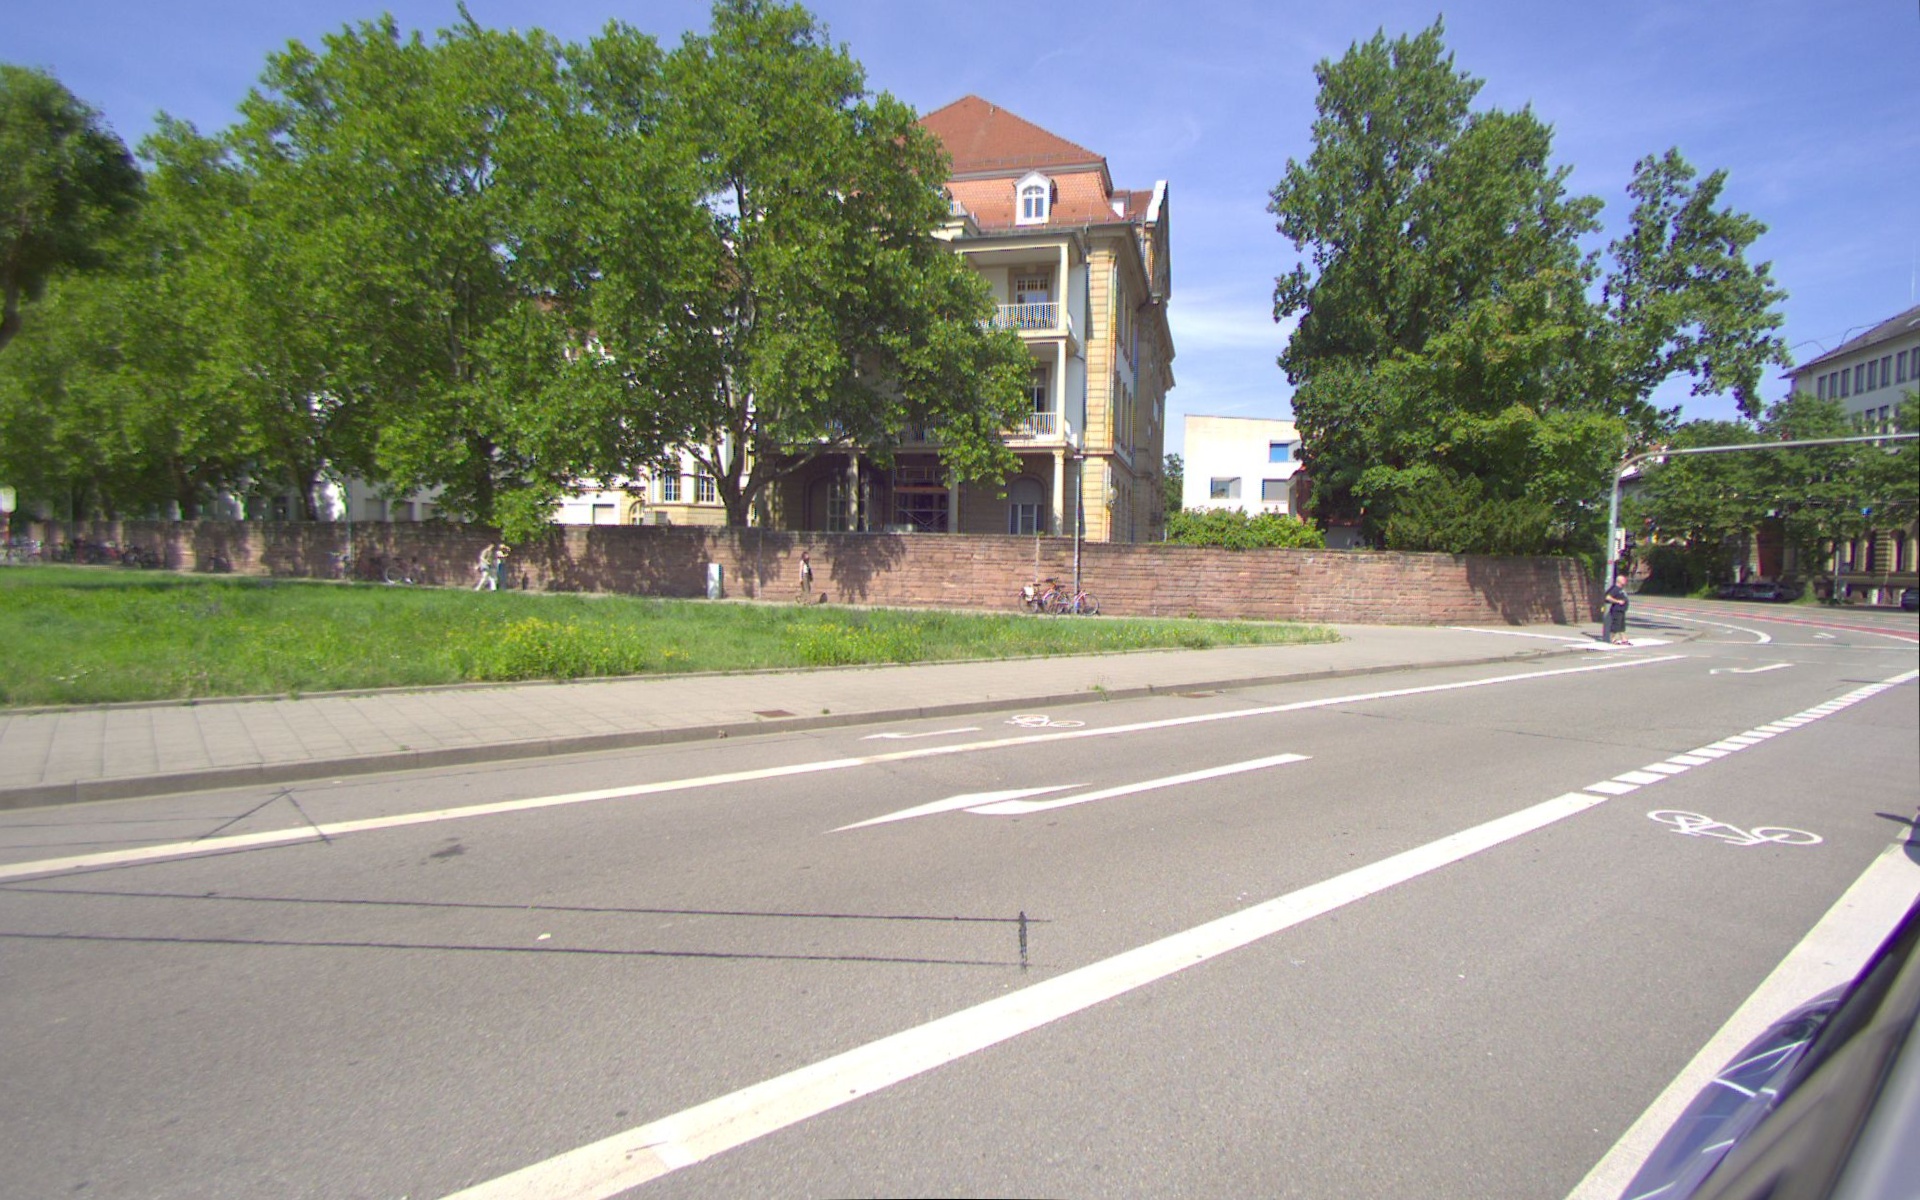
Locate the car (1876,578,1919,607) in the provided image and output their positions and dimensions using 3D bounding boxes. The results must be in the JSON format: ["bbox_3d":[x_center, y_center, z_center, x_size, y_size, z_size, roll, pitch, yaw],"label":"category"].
[{"bbox_3d":[59.281,-0.461,62.166,3.942,1.682,1.992,0,3,15],"label":"car"}]

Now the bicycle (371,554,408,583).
[{"bbox_3d":[-21.487,-1.205,38.091,1.432,1.046,0.444,3,2,24],"label":"bicycle"}]

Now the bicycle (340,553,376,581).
[{"bbox_3d":[-23.102,-1.275,38.802,1.432,1.046,0.444,3,2,24],"label":"bicycle"}]

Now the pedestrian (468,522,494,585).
[{"bbox_3d":[-15.624,-1.510,33.038,0.586,2.038,0.522,1,2,9],"label":"pedestrian"}]

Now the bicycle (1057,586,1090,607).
[{"bbox_3d":[3.369,-0.102,29.985,0.929,0.609,0.275,1,2,-2],"label":"bicycle"}]

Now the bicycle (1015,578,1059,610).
[{"bbox_3d":[2.259,-0.170,29.780,1.202,0.894,0.395,1,2,-21],"label":"bicycle"}]

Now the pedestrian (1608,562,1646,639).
[{"bbox_3d":[18.054,-0.001,27.408,0.790,2.038,0.608,2,2,35],"label":"pedestrian"}]

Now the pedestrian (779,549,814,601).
[{"bbox_3d":[-5.008,-0.770,31.040,0.900,1.567,0.501,2,2,13],"label":"pedestrian"}]

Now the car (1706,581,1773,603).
[{"bbox_3d":[65.596,-0.672,85.256,3.943,1.682,1.992,0,3,16],"label":"car"}]

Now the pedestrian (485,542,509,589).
[{"bbox_3d":[-15.915,-1.193,34.805,0.700,1.597,0.516,3,3,41],"label":"pedestrian"}]

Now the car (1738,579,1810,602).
[{"bbox_3d":[64.730,-0.777,80.511,3.941,1.682,1.993,0,3,14],"label":"car"}]
